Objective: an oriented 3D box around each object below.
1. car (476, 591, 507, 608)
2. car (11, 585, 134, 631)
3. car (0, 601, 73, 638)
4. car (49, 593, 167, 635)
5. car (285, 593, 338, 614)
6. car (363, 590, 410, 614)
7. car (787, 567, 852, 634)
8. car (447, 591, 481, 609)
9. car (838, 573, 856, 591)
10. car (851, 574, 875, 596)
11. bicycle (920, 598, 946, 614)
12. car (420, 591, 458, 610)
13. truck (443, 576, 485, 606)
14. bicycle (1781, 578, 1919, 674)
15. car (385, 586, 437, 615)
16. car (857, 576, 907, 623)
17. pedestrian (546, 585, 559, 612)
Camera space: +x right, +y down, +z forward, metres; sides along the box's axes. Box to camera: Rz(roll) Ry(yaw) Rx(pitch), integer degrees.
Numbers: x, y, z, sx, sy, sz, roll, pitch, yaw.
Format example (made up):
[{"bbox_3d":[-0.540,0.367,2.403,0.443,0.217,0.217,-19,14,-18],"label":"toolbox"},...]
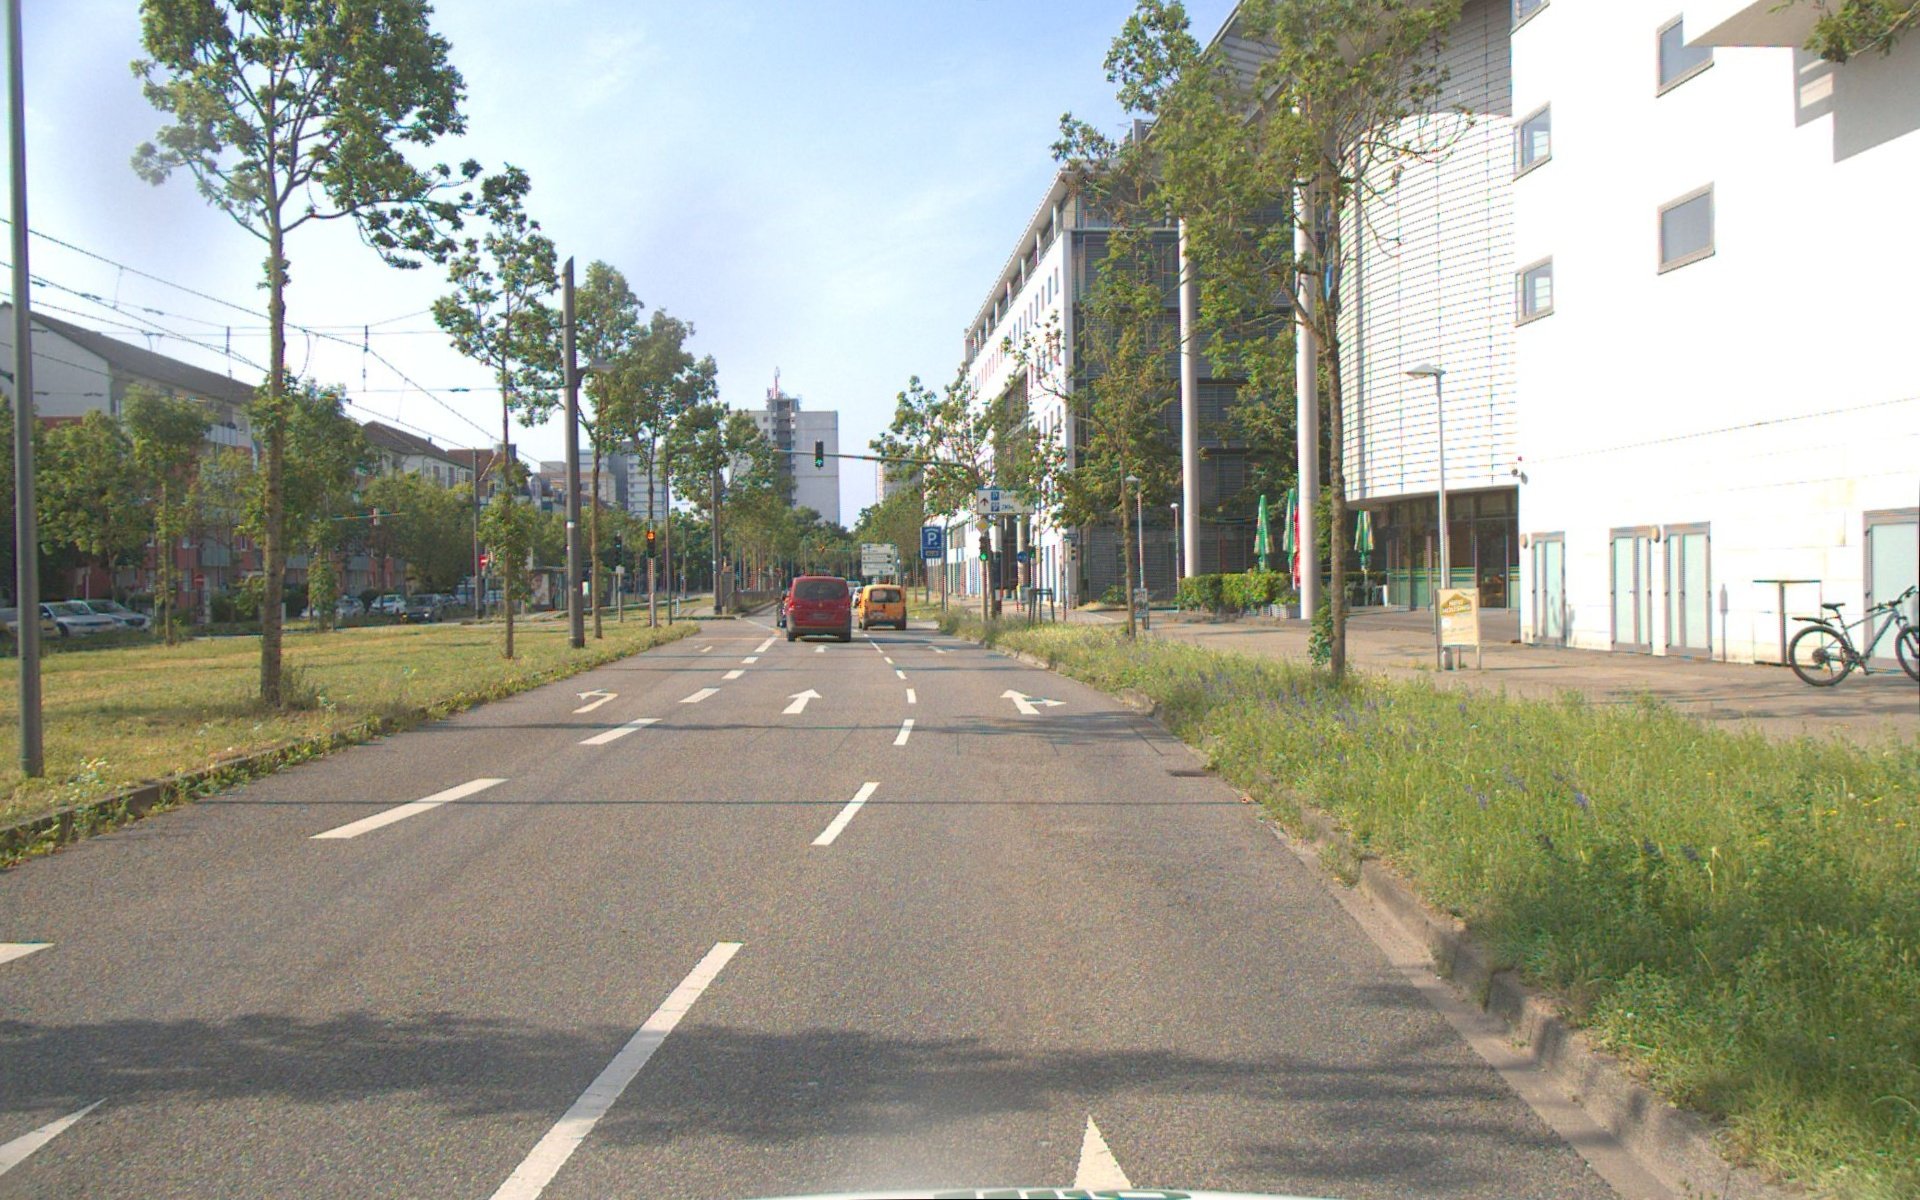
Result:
[{"bbox_3d":[-41.769,-0.057,147.493,1.942,1.540,4.276,1,0,-6],"label":"car"},{"bbox_3d":[-32.066,0.290,59.731,4.369,1.541,1.995,-1,1,32],"label":"car"},{"bbox_3d":[-32.553,0.655,57.026,3.920,1.199,1.992,1,0,36],"label":"car"},{"bbox_3d":[-32.628,0.527,63.328,4.256,1.489,1.961,1,0,29],"label":"car"},{"bbox_3d":[-37.790,0.197,96.474,1.798,1.168,4.160,1,0,-5],"label":"car"},{"bbox_3d":[-38.891,0.121,112.298,1.942,1.583,4.532,1,0,-5],"label":"car"},{"bbox_3d":[-4.198,-0.011,49.072,1.838,1.886,3.995,-1,1,-6],"label":"car"},{"bbox_3d":[-40.999,-0.005,136.823,1.942,1.384,4.065,1,0,-6],"label":"car"},{"bbox_3d":[-12.825,-2.035,187.723,1.955,2.049,3.996,-1,1,-5],"label":"car"},{"bbox_3d":[-7.258,-1.118,124.076,1.656,1.552,3.847,-3,1,-5],"label":"car"},{"bbox_3d":[-1.381,0.305,84.085,1.245,0.643,0.521,-7,0,2],"label":"bicycle"},{"bbox_3d":[-40.161,0.043,127.598,1.942,1.384,4.065,1,0,-6],"label":"car"},{"bbox_3d":[-45.399,-0.858,151.527,2.320,2.607,7.233,-1,1,-5],"label":"truck"},{"bbox_3d":[11.124,0.304,20.095,1.967,1.122,0.675,-1,0,-1],"label":"bicycle"},{"bbox_3d":[-34.651,0.020,104.534,1.954,1.735,4.709,0,0,-4],"label":"car"},{"bbox_3d":[-3.023,-0.042,63.534,1.839,1.726,3.970,-1,1,-4],"label":"car"},{"bbox_3d":[-25.097,-0.091,101.900,0.659,1.682,0.793,-1,0,-9],"label":"pedestrian"}]
